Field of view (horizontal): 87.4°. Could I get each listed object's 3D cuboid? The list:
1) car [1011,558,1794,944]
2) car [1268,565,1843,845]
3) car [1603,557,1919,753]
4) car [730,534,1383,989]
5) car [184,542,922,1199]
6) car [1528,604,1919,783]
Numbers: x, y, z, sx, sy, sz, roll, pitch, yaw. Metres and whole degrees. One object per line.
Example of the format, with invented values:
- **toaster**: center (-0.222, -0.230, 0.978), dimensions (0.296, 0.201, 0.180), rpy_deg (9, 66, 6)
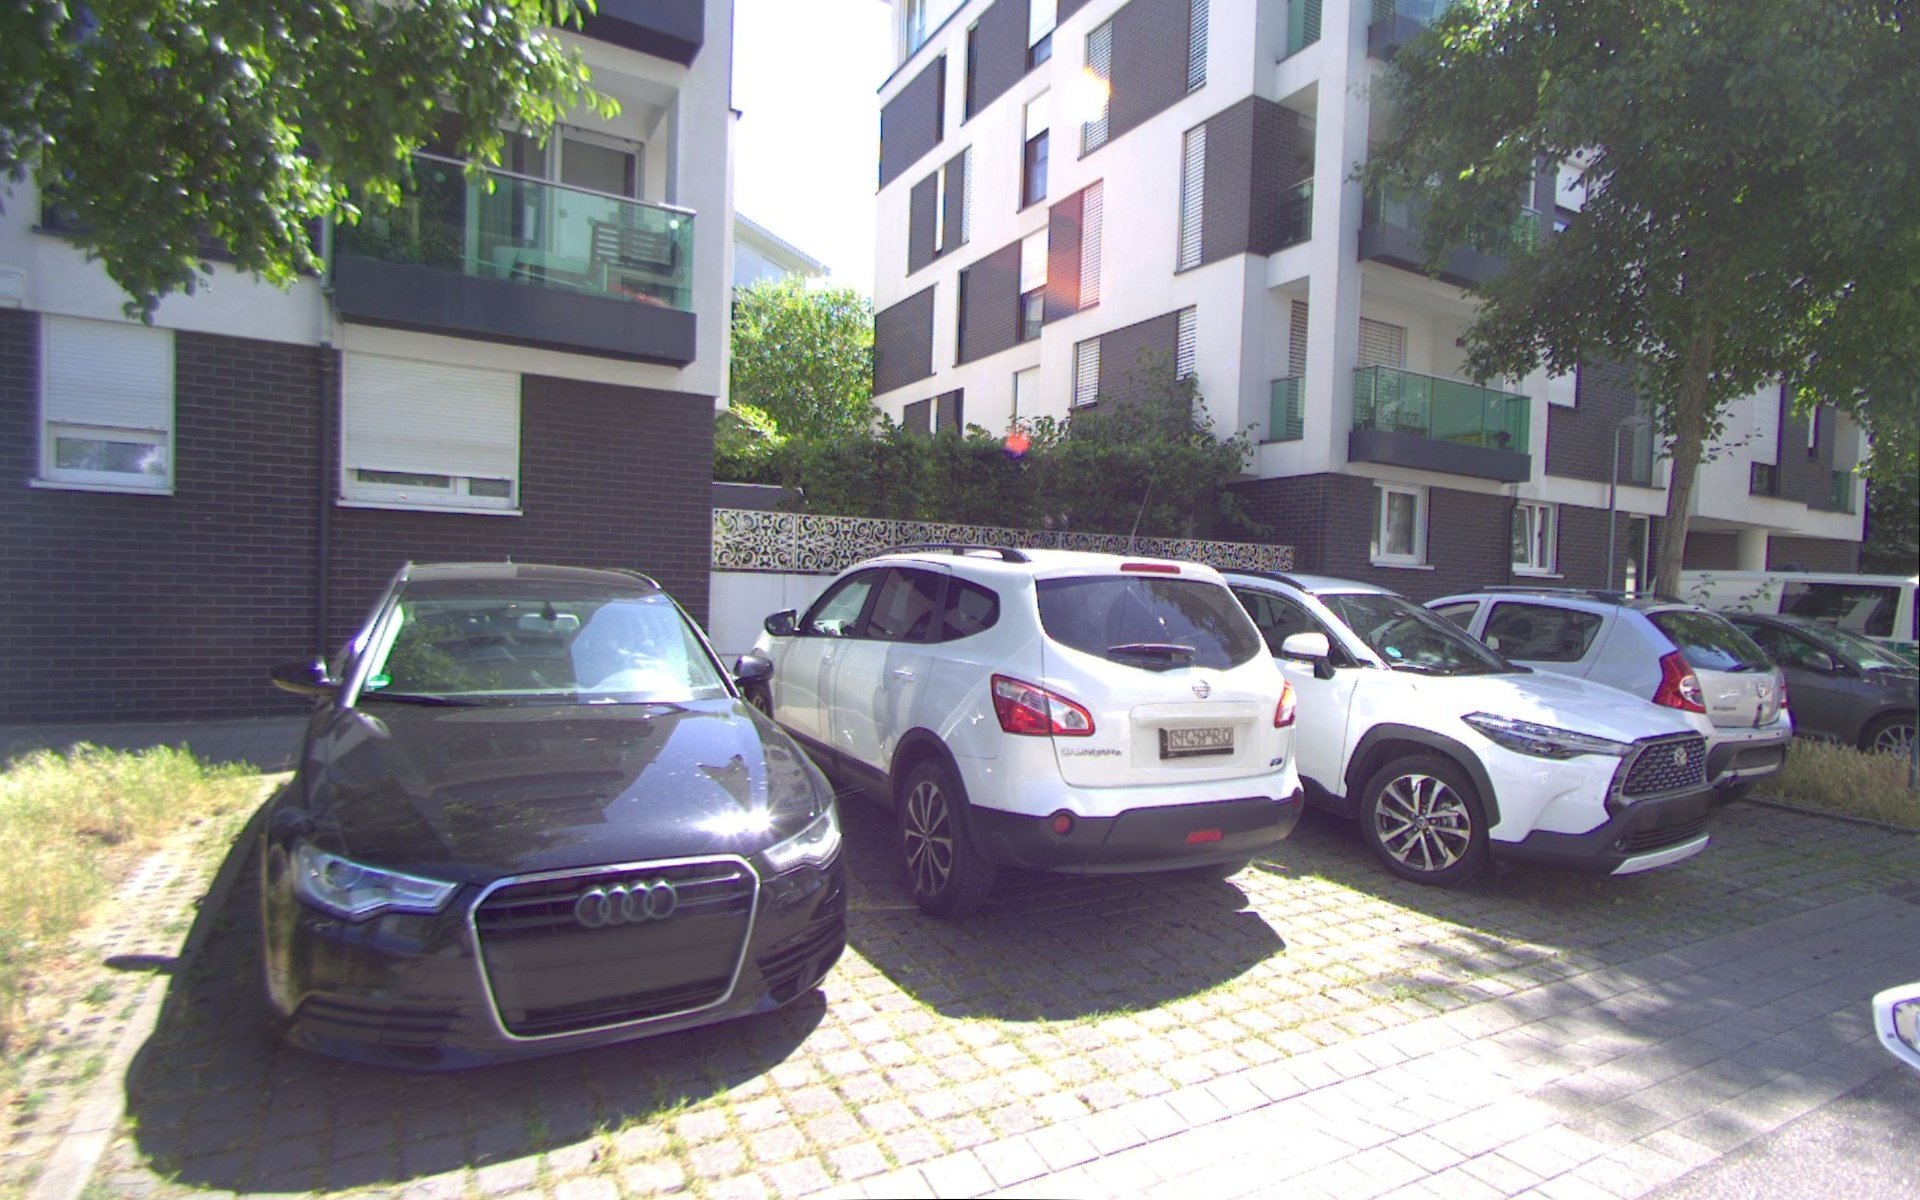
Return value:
- **car**: center (2.503, 0.617, 6.891), dimensions (1.946, 1.615, 4.529), rpy_deg (1, 3, -34)
- **car**: center (4.647, 0.635, 8.404), dimensions (1.830, 1.698, 3.662), rpy_deg (1, 2, -29)
- **car**: center (11.120, 0.613, 12.091), dimensions (2.159, 2.139, 5.322), rpy_deg (1, 1, -27)
- **car**: center (0.117, 0.510, 5.841), dimensions (1.924, 1.651, 3.965), rpy_deg (2, 2, -27)
- **car**: center (-2.074, 0.524, 4.812), dimensions (1.807, 1.476, 4.829), rpy_deg (2, 3, -28)
- **car**: center (8.743, 0.868, 10.577), dimensions (1.977, 1.509, 4.398), rpy_deg (1, 1, -31)
